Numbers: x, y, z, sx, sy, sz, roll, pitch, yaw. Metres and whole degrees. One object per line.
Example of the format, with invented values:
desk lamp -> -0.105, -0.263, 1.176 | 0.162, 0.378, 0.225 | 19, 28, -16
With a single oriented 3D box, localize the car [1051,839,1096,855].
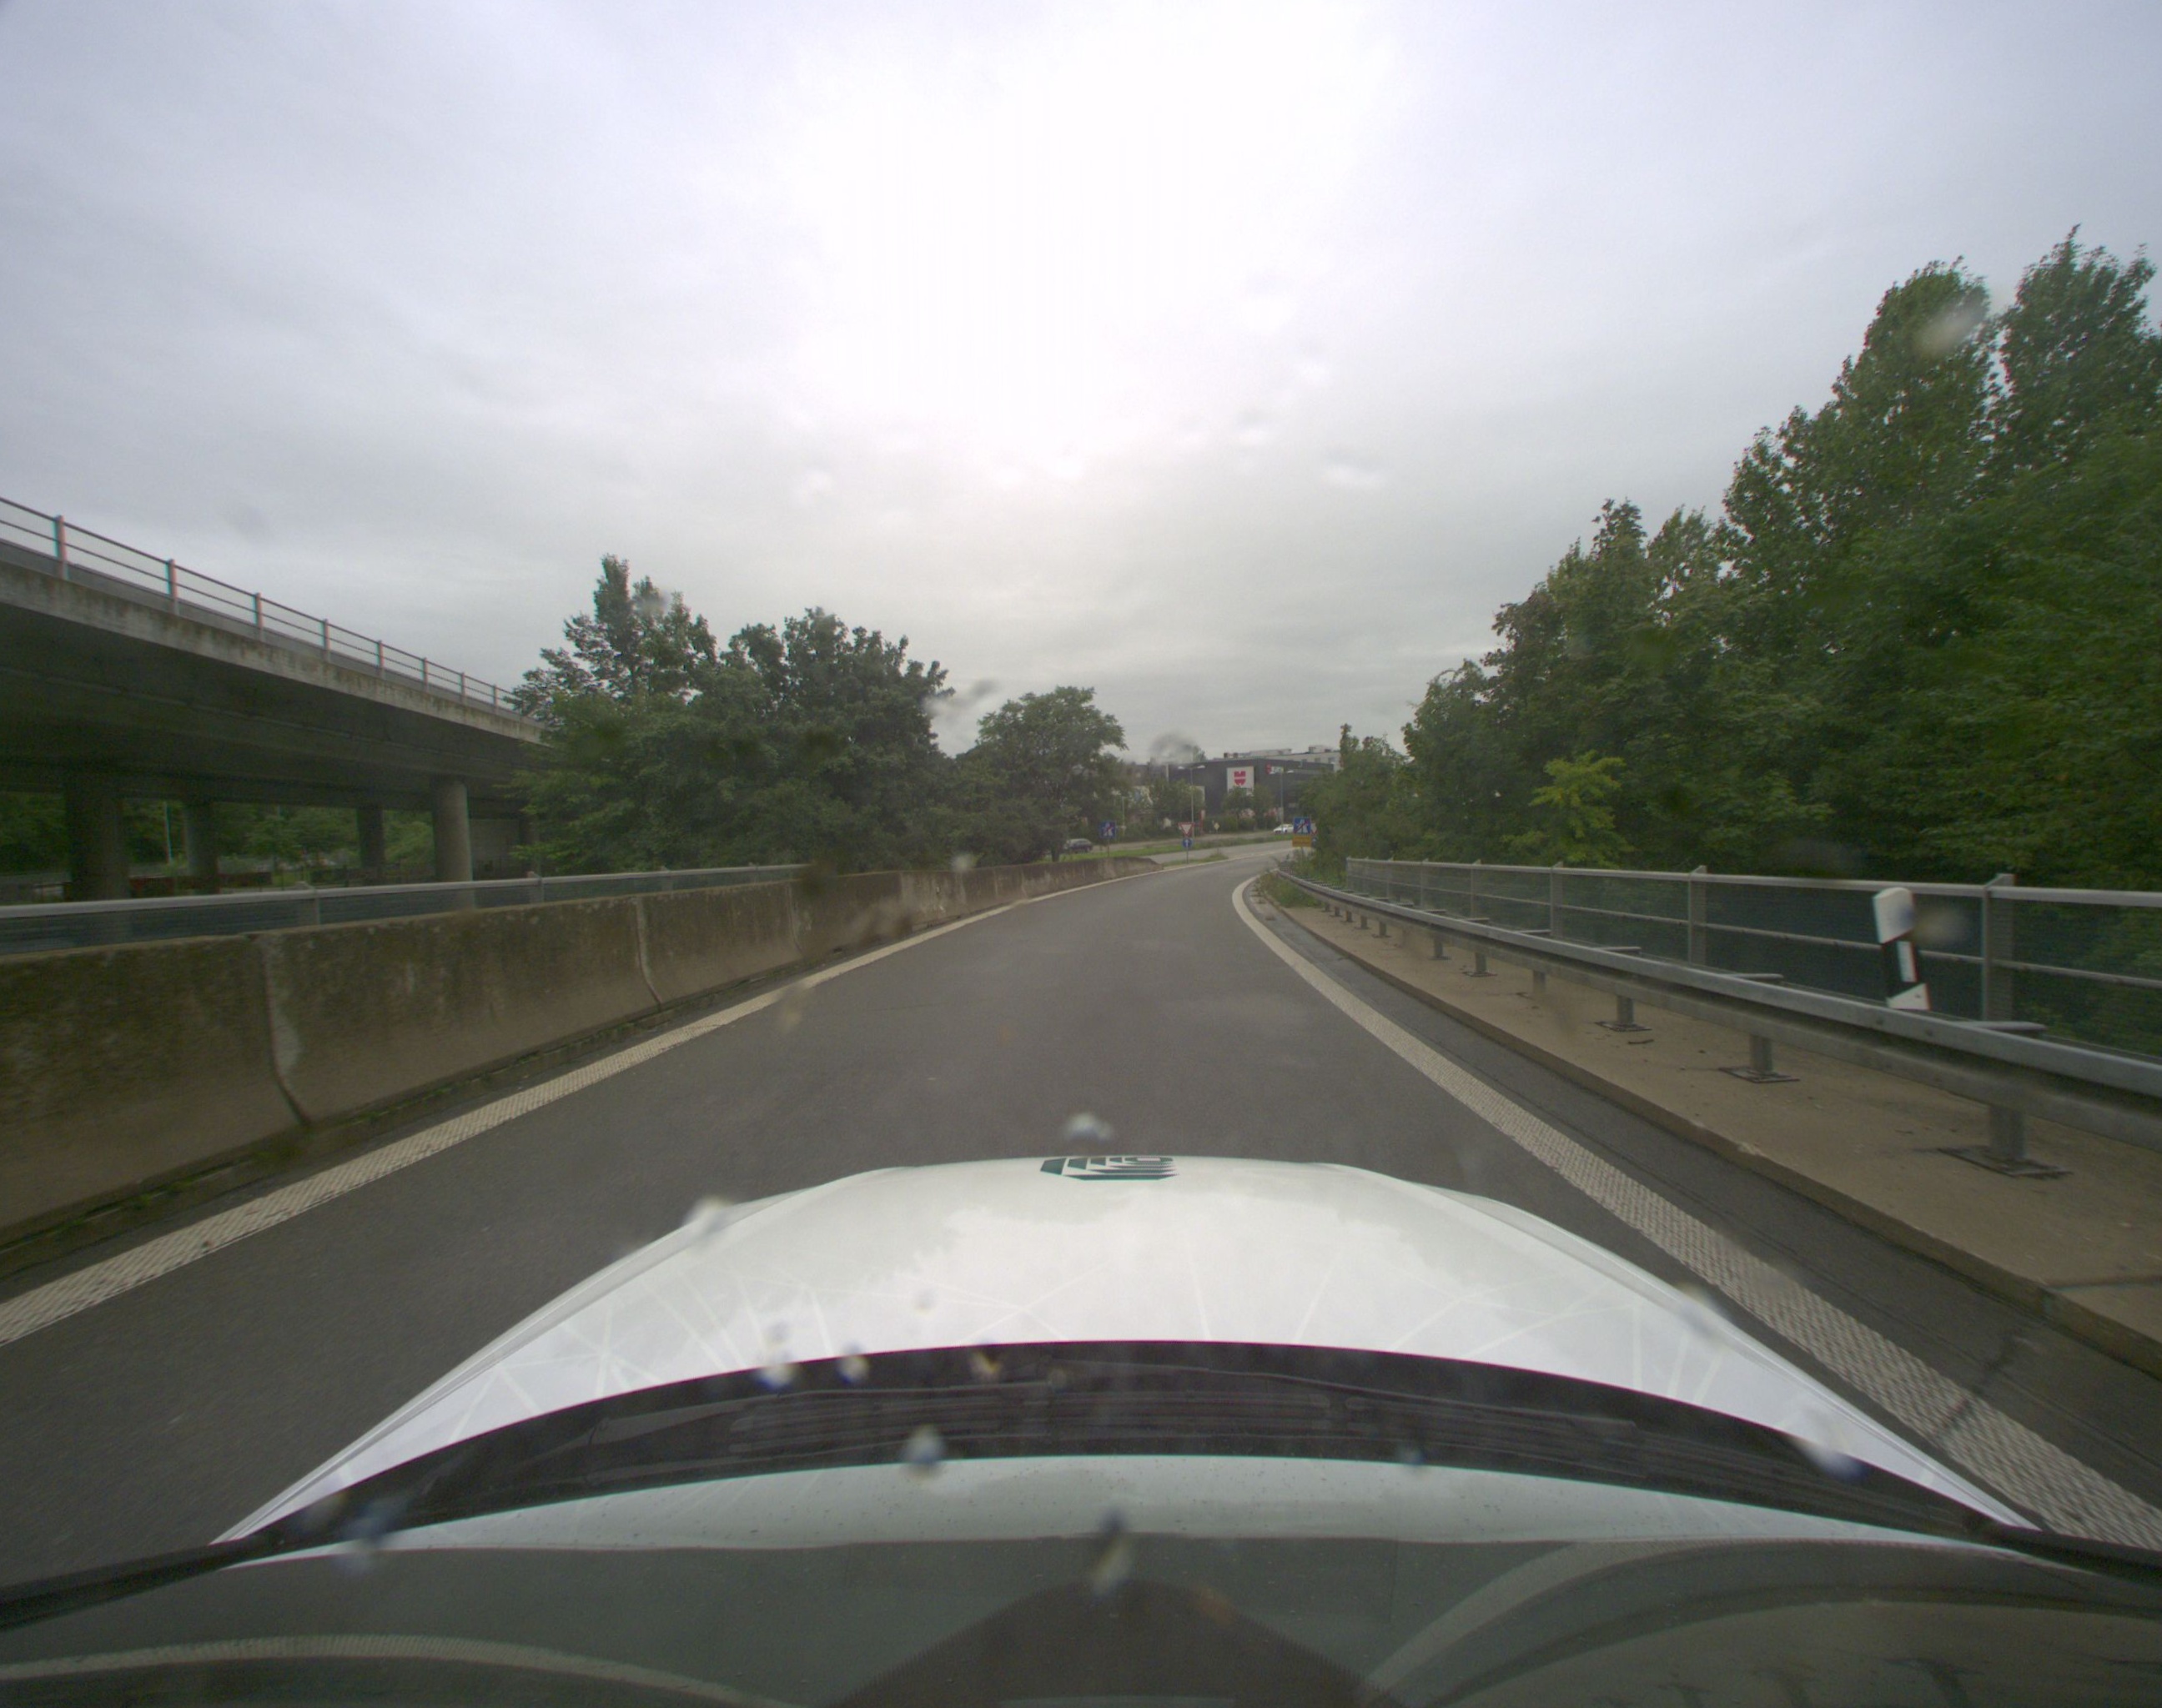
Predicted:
car -> -0.758, -0.708, 84.075 | 1.950, 1.396, 4.848 | -1, 2, 38

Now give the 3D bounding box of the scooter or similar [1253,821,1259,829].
scooter or similar -> 28.510, -4.667, 132.351 | 0.441, 1.227, 1.396 | 0, 4, 35
